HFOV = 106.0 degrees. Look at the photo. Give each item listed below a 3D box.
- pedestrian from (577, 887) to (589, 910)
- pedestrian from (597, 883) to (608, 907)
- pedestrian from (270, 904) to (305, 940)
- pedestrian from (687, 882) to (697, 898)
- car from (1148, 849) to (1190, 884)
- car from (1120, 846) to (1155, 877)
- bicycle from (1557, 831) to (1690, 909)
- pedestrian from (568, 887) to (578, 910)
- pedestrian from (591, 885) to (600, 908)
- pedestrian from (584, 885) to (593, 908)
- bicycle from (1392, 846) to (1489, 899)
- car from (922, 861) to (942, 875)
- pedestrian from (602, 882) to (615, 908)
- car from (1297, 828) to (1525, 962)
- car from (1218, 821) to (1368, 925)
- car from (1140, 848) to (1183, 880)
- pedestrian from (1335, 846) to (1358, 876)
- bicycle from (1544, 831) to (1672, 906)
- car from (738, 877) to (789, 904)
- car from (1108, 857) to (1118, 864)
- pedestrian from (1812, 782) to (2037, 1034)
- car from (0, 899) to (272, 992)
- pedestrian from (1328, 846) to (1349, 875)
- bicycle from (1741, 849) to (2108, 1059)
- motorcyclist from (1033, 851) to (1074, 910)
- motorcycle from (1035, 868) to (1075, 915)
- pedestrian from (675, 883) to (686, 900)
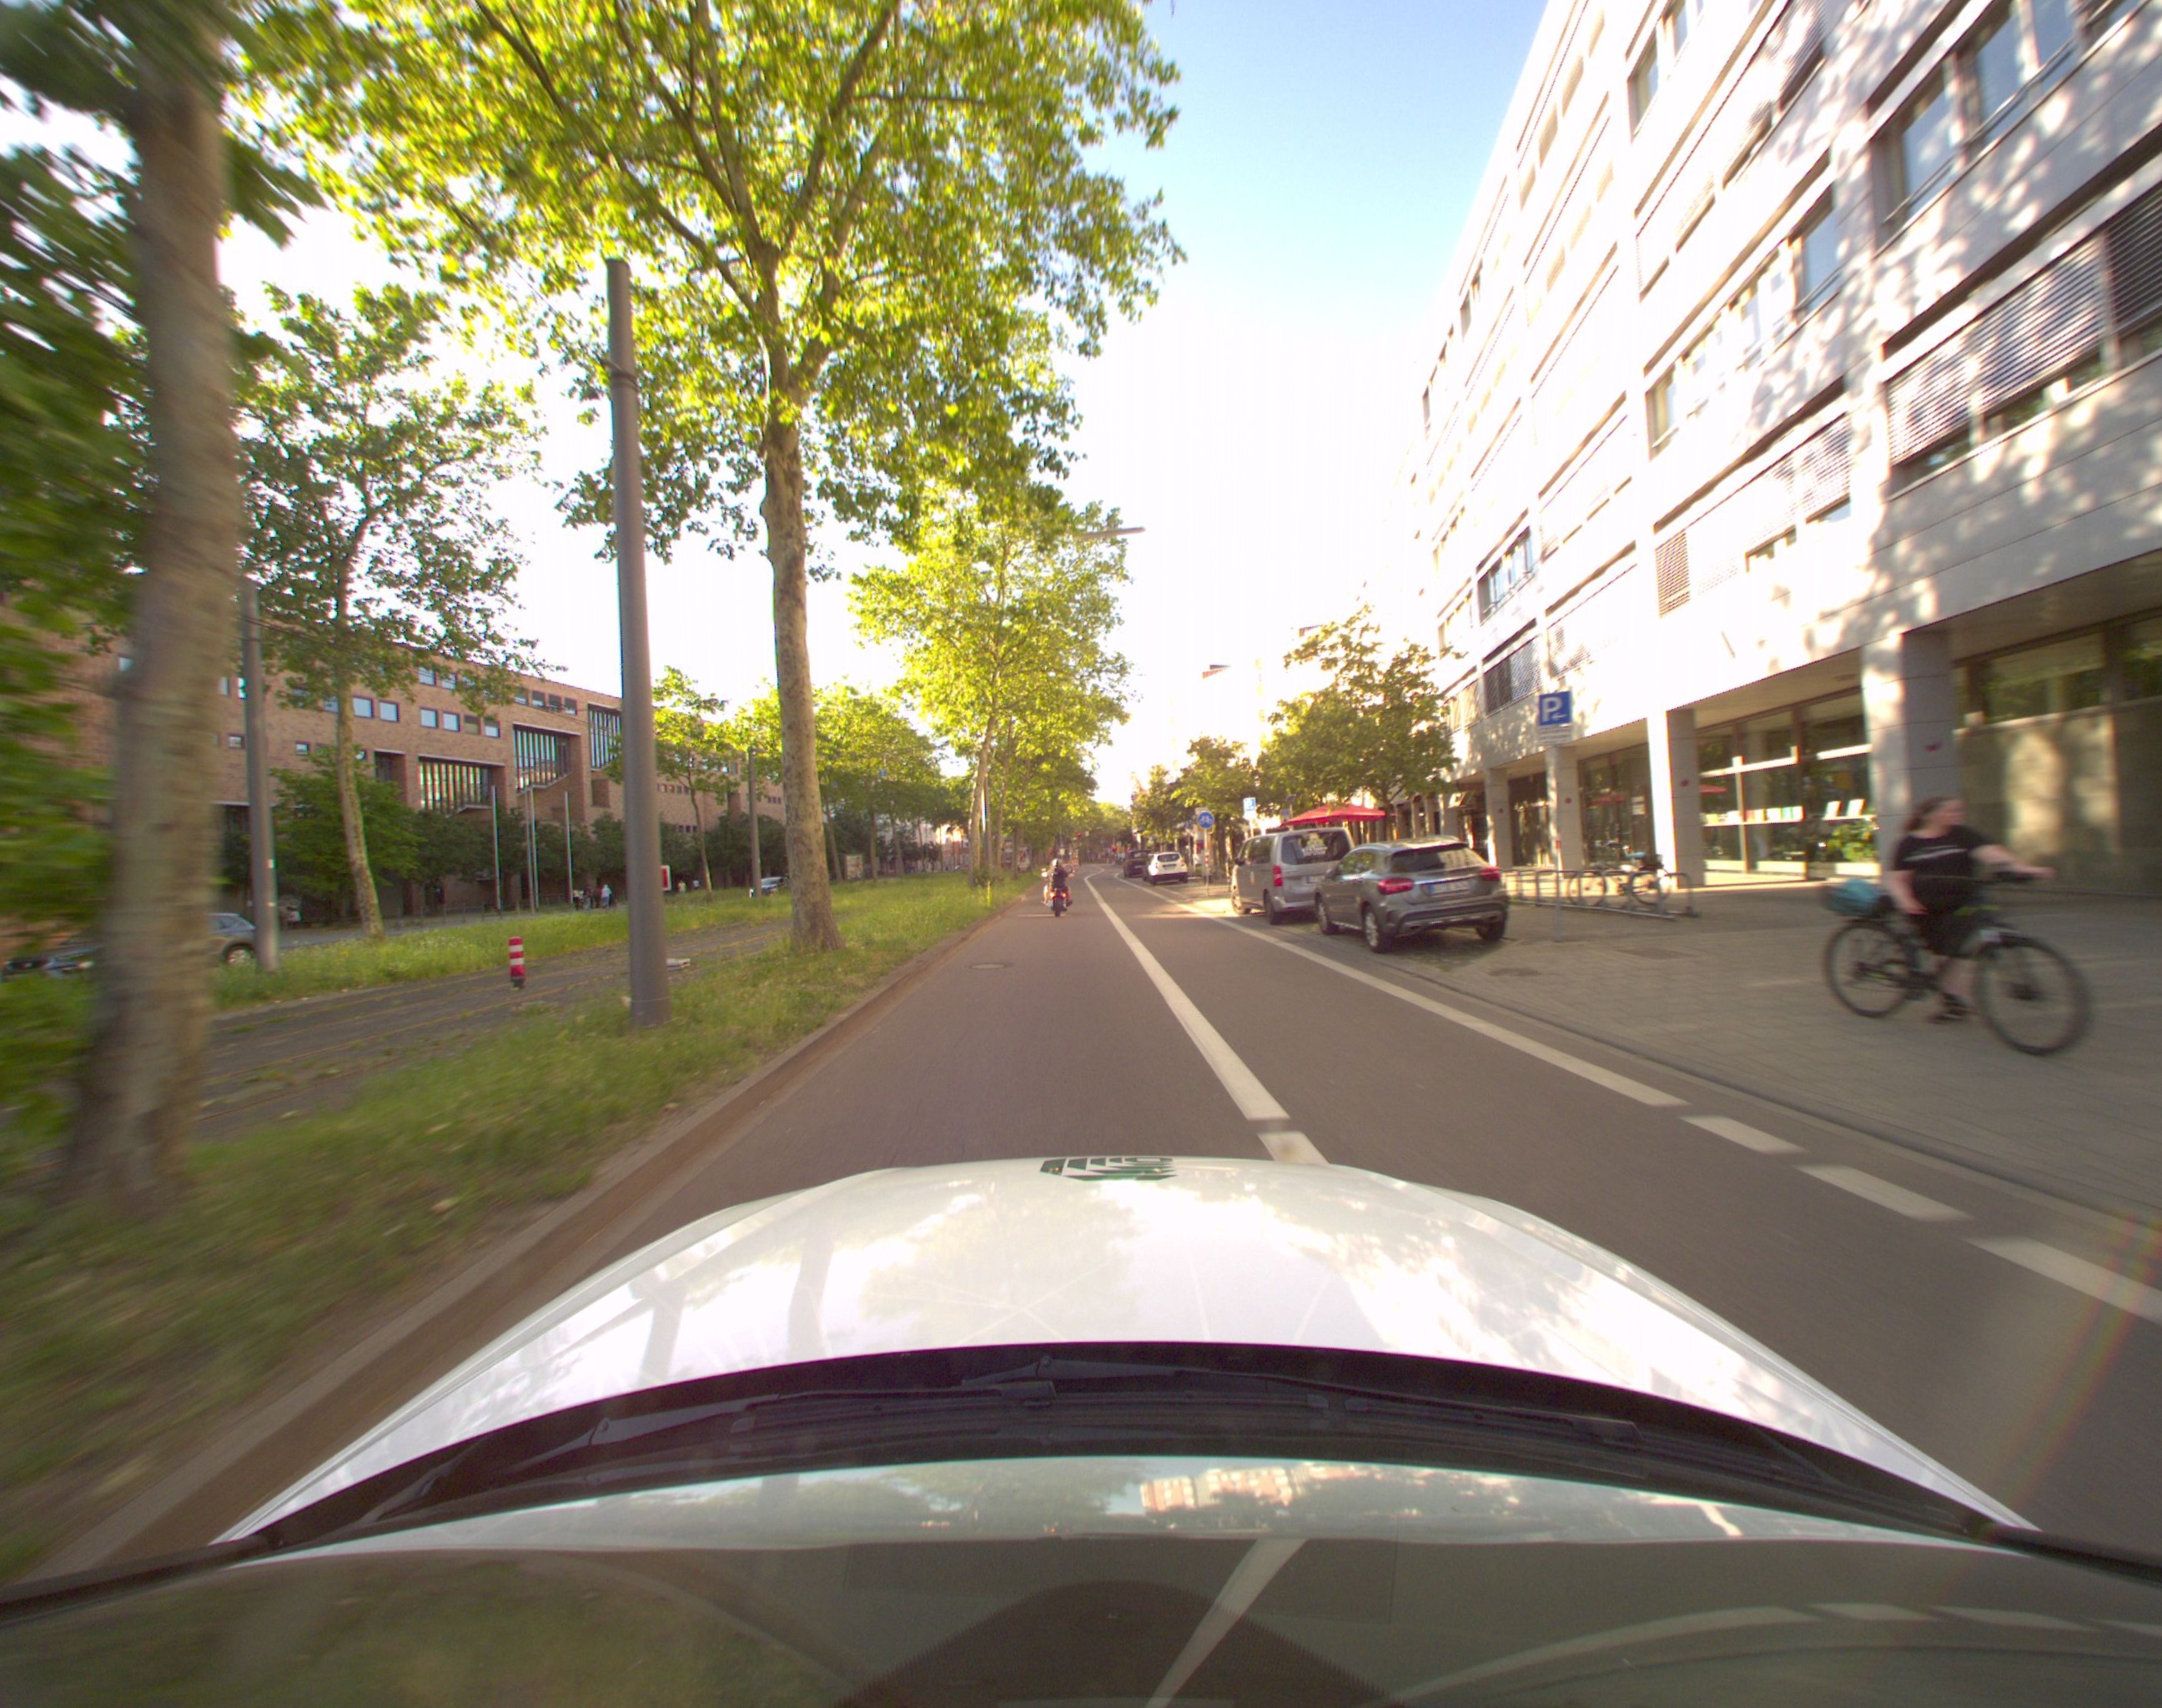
[{"bbox_3d":[-31.948,2.833,52.249,0.388,1.416,0.459,-4,0,6],"label":"pedestrian"},{"bbox_3d":[-31.652,2.707,53.878,0.363,1.523,0.424,-4,0,7],"label":"pedestrian"},{"bbox_3d":[-43.639,3.726,44.799,0.971,1.881,0.883,-3,-1,9],"label":"pedestrian"},{"bbox_3d":[-32.634,3.058,68.385,0.500,1.291,0.522,-3,0,4],"label":"pedestrian"},{"bbox_3d":[4.507,0.619,42.288,1.852,1.638,3.870,-4,0,2],"label":"car"},{"bbox_3d":[4.092,0.538,59.534,2.024,1.977,4.412,-4,0,-1],"label":"car"},{"bbox_3d":[9.207,0.266,13.857,1.824,1.151,0.471,-5,0,4],"label":"bicycle"},{"bbox_3d":[-32.569,2.874,52.234,0.362,1.420,0.333,-4,0,7],"label":"pedestrian"},{"bbox_3d":[-32.108,2.799,53.822,0.316,1.457,0.342,-3,0,6],"label":"pedestrian"},{"bbox_3d":[-32.677,2.825,54.030,0.291,1.457,0.316,-3,0,6],"label":"pedestrian"},{"bbox_3d":[8.273,0.415,18.775,1.863,1.101,0.740,-3,0,-4],"label":"bicycle"},{"bbox_3d":[-19.350,1.801,105.895,1.896,1.686,3.995,-3,0,-3],"label":"car"},{"bbox_3d":[-31.634,2.759,54.527,0.434,1.704,0.481,-4,0,7],"label":"pedestrian"},{"bbox_3d":[4.887,0.539,12.841,1.852,1.572,4.417,-6,0,3],"label":"car"},{"bbox_3d":[4.570,0.393,18.431,1.917,1.843,4.923,-6,0,-1],"label":"car"},{"bbox_3d":[4.711,0.589,48.079,1.981,1.629,4.083,-4,-1,-1],"label":"car"},{"bbox_3d":[14.327,0.358,43.999,0.867,1.546,0.994,-3,0,2],"label":"pedestrian"},{"bbox_3d":[9.247,0.257,14.335,1.824,1.151,0.471,-5,0,4],"label":"bicycle"},{"bbox_3d":[-19.429,2.187,49.949,1.587,1.399,3.734,-3,0,0],"label":"car"},{"bbox_3d":[7.564,1.516,190.809,1.983,1.706,4.007,-3,0,6],"label":"car"},{"bbox_3d":[5.958,0.351,5.806,0.602,1.611,0.838,-6,1,1],"label":"pedestrian"},{"bbox_3d":[-22.180,2.050,19.290,1.819,1.562,4.336,-3,1,-4],"label":"car"},{"bbox_3d":[14.342,0.336,45.331,0.866,1.546,0.995,-3,0,5],"label":"pedestrian"},{"bbox_3d":[5.743,0.589,5.744,0.608,1.163,1.849,-6,1,2],"label":"bicycle"},{"bbox_3d":[-0.770,0.722,22.895,1.020,1.552,1.285,-3,1,-2],"label":"motorcyclist"},{"bbox_3d":[-0.725,1.023,22.909,1.003,1.125,2.321,-3,1,-2],"label":"motorcycle"},{"bbox_3d":[-31.530,2.922,64.171,0.500,1.291,0.522,-3,0,4],"label":"pedestrian"}]
